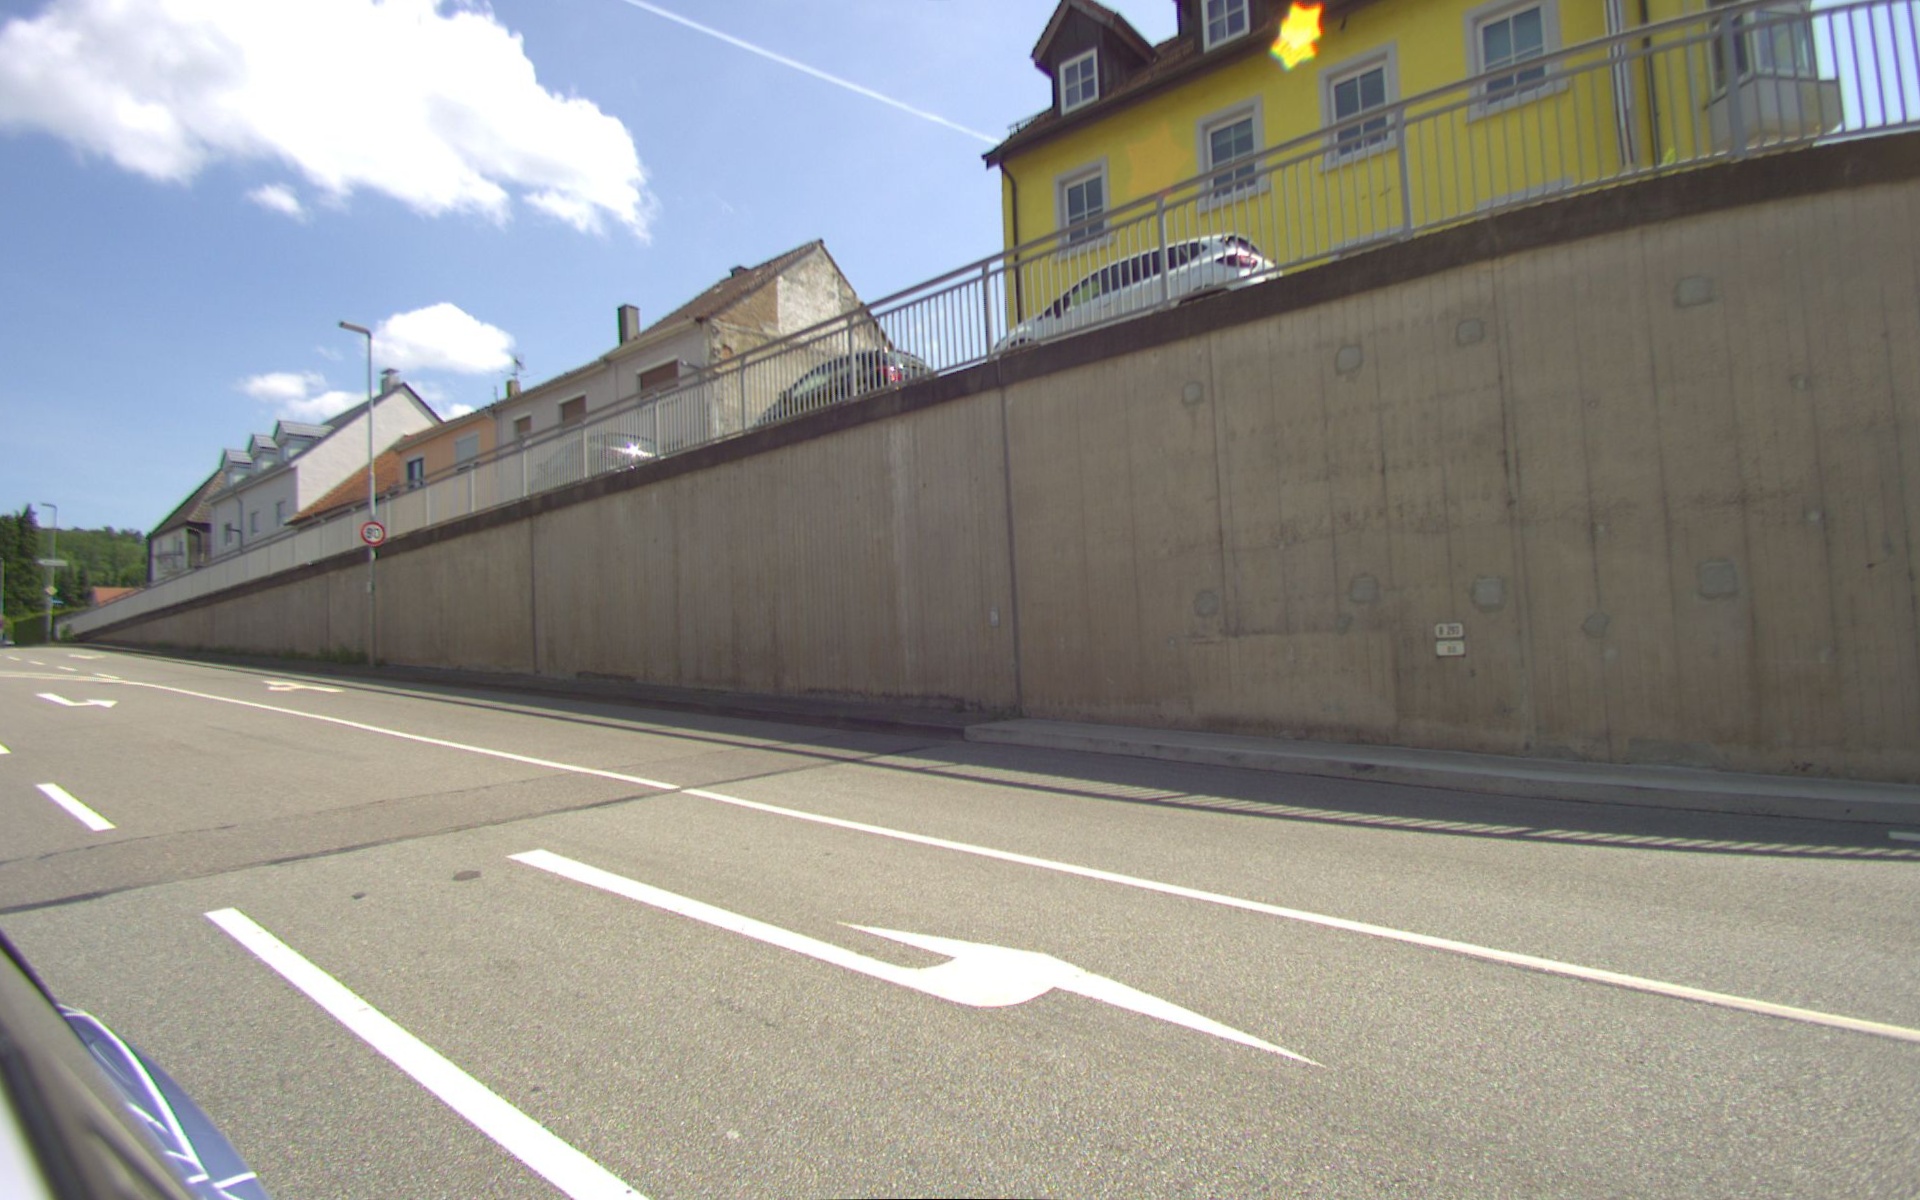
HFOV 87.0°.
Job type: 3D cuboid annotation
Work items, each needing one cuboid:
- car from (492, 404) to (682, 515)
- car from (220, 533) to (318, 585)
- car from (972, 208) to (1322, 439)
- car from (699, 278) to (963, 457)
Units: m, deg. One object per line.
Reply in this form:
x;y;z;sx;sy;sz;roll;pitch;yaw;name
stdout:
-7.959;-2.857;21.403;4.388;1.536;1.780;-4;-3;39;car
-24.786;-1.418;36.246;4.388;1.416;1.768;-4;-3;39;car
2.324;-3.353;13.093;3.996;1.681;1.883;-4;-3;40;car
-2.172;-3.579;16.360;4.218;1.718;1.804;-4;-3;39;car
